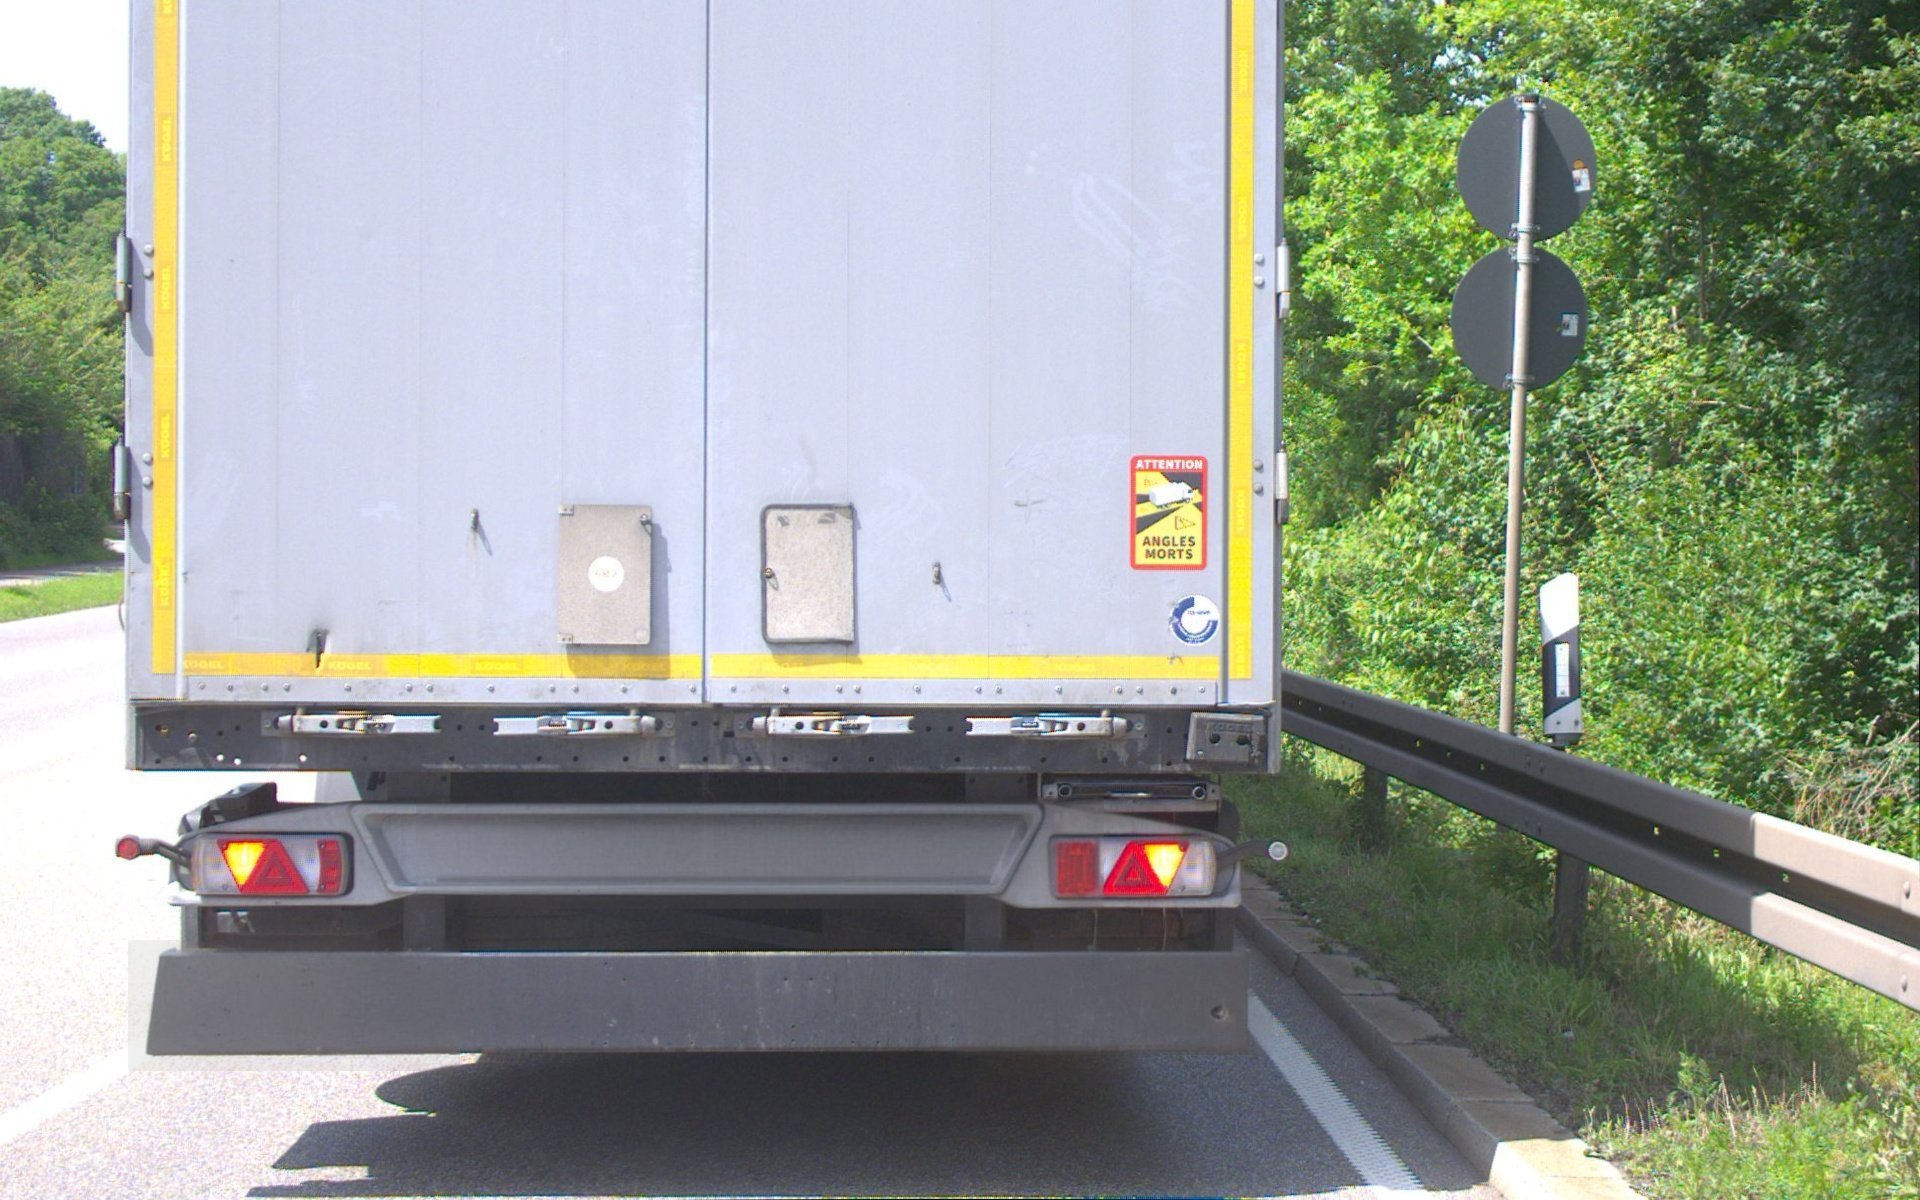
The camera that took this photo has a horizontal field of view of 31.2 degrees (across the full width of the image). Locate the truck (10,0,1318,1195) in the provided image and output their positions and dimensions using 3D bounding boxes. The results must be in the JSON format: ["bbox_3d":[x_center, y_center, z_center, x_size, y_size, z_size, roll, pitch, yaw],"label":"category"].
[{"bbox_3d":[-0.762,-0.867,13.270,2.757,4.016,11.925,1,1,-1],"label":"truck"}]
